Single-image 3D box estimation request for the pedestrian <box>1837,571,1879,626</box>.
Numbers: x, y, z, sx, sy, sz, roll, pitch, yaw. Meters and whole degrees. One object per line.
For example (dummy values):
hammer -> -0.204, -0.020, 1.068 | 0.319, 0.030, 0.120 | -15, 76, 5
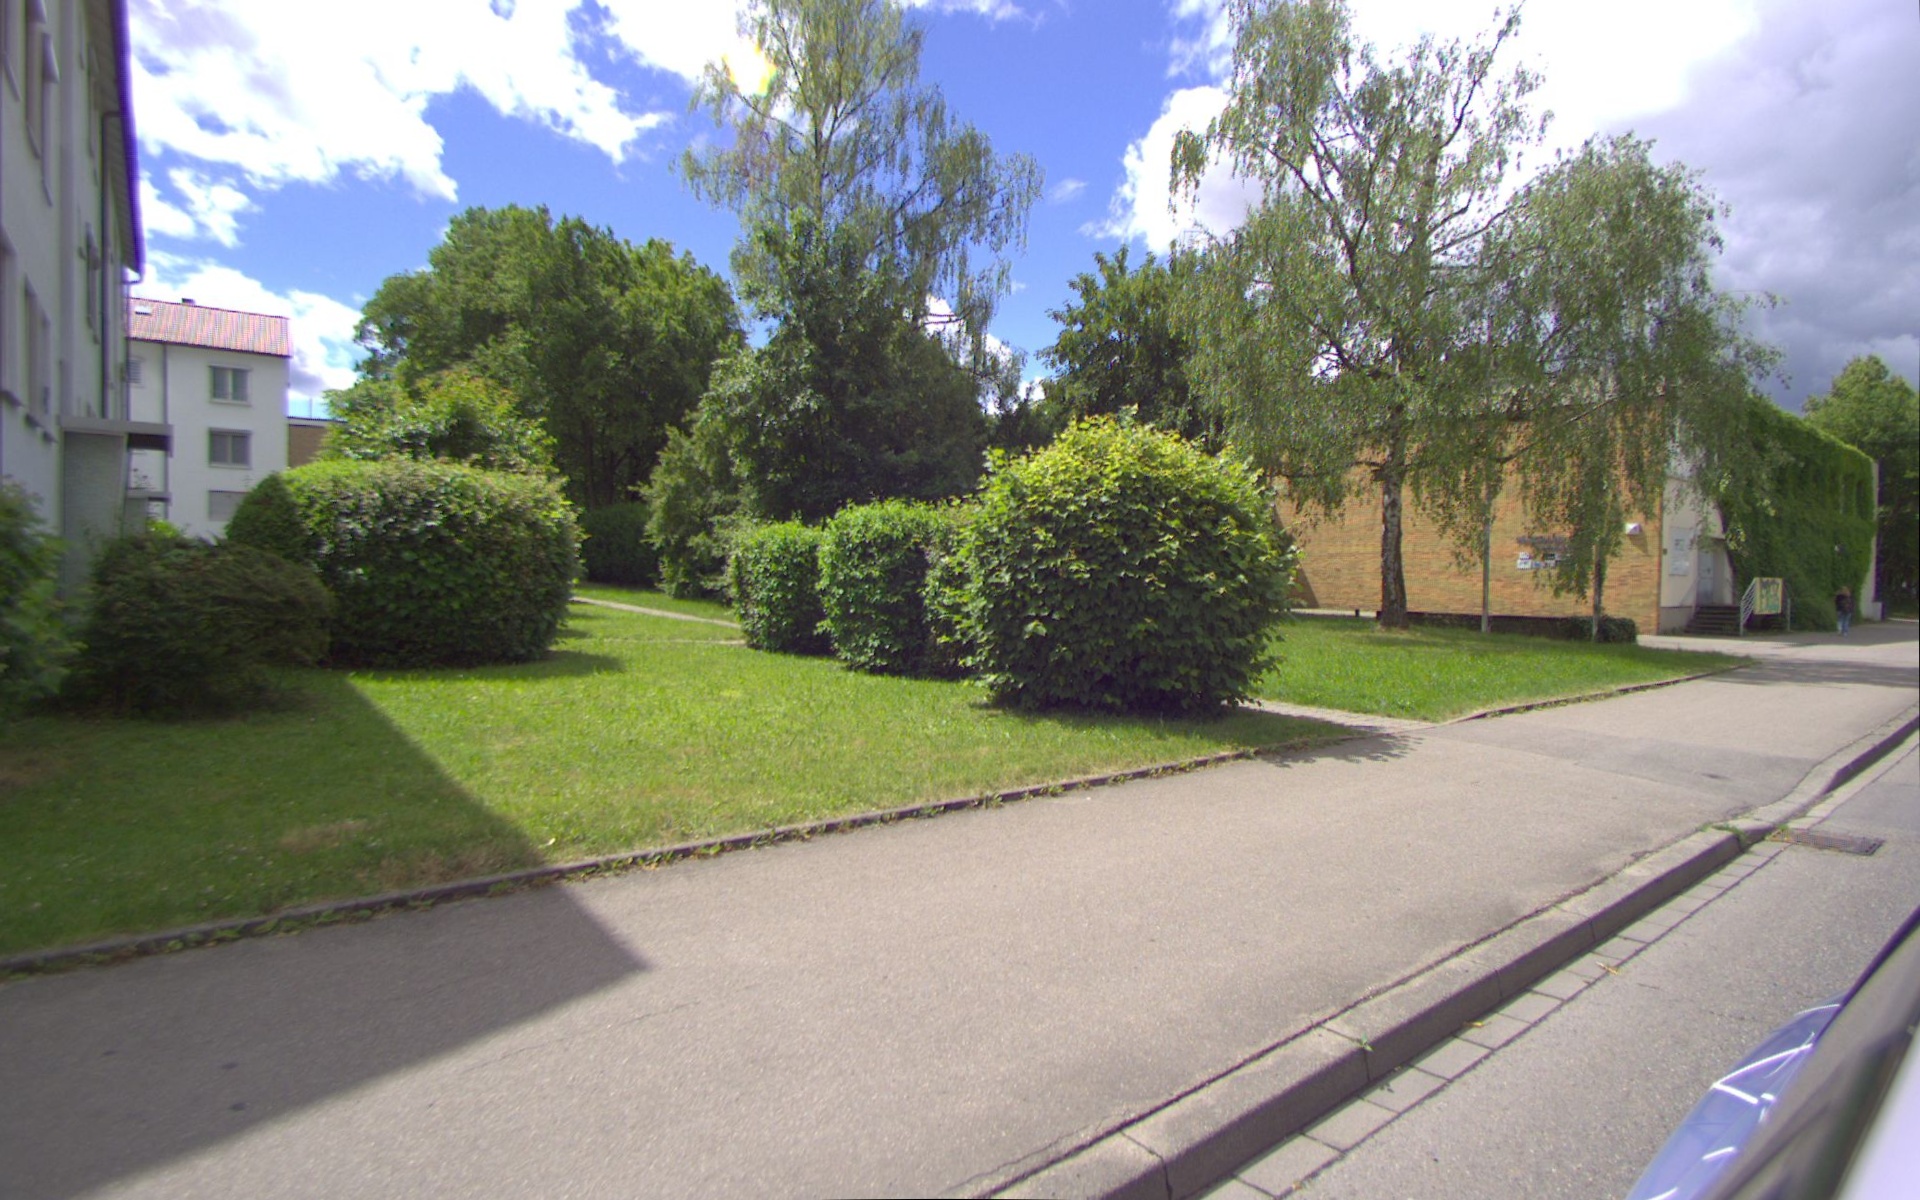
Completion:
pedestrian -> 30.510, -0.075, 34.379 | 0.801, 1.792, 0.812 | 0, 4, -35
